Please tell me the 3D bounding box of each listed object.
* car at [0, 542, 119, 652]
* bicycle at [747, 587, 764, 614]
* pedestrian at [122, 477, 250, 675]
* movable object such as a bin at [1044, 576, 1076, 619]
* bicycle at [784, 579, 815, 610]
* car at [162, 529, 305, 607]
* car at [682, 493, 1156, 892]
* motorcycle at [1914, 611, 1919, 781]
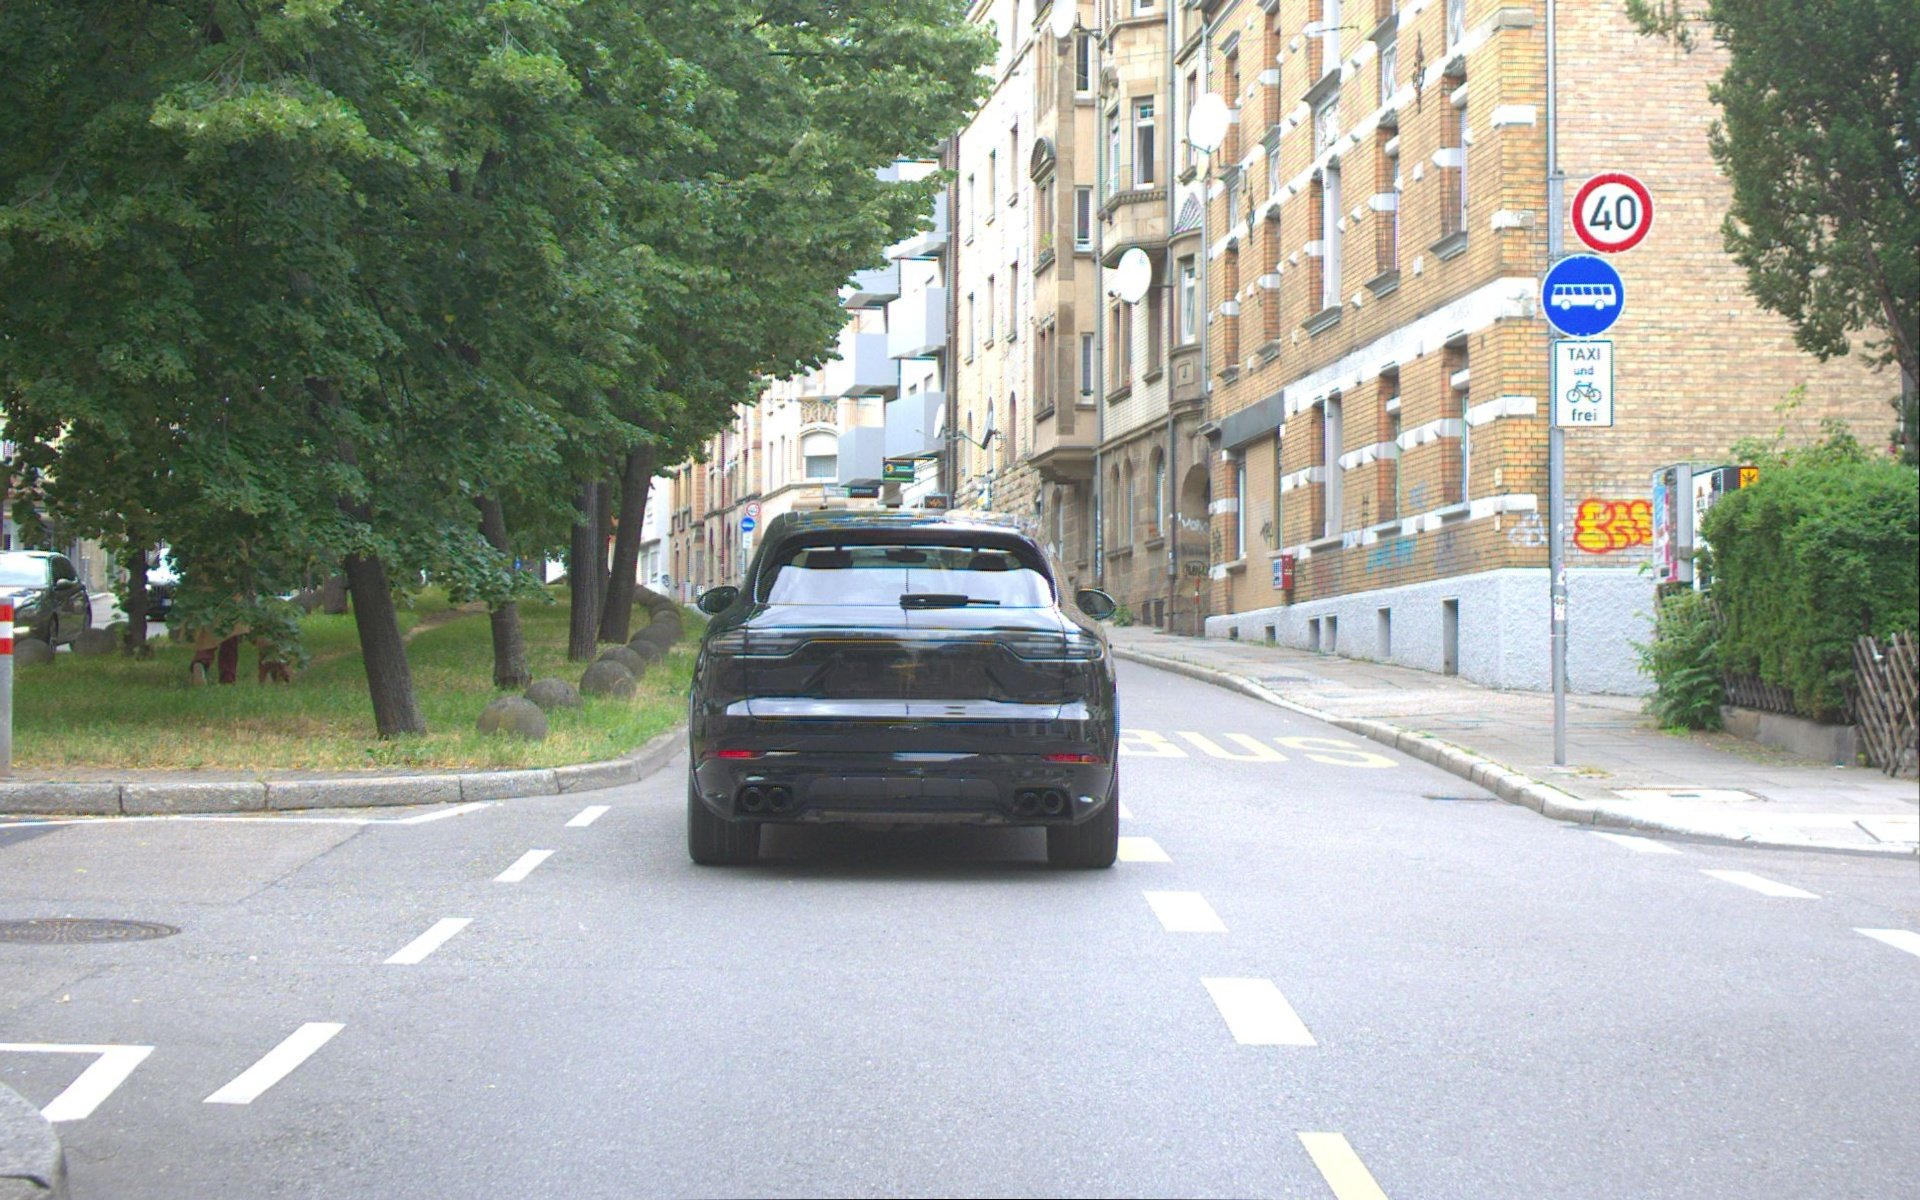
[{"bbox_3d":[-13.105,-0.067,47.740,1.708,1.377,4.669,-1,2,0],"label":"car"},{"bbox_3d":[-8.565,0.027,143.730,0.446,1.033,2.249,0,-2,-10],"label":"bicycle"},{"bbox_3d":[-6.934,-0.201,30.831,0.833,1.706,1.123,-3,-1,-1],"label":"pedestrian"},{"bbox_3d":[2.132,-0.052,73.335,0.594,0.901,0.563,1,0,-6],"label":"movable object such as a bin"},{"bbox_3d":[-6.210,-0.198,132.817,0.879,1.125,2.980,1,-1,-8],"label":"bicycle"},{"bbox_3d":[-14.040,-0.645,66.667,1.758,1.377,4.669,-1,2,0],"label":"car"},{"bbox_3d":[-0.275,0.371,16.835,1.993,1.660,4.001,2,1,-3],"label":"car"},{"bbox_3d":[7.385,0.599,22.275,2.055,1.263,1.010,2,1,-5],"label":"motorcycle"}]
